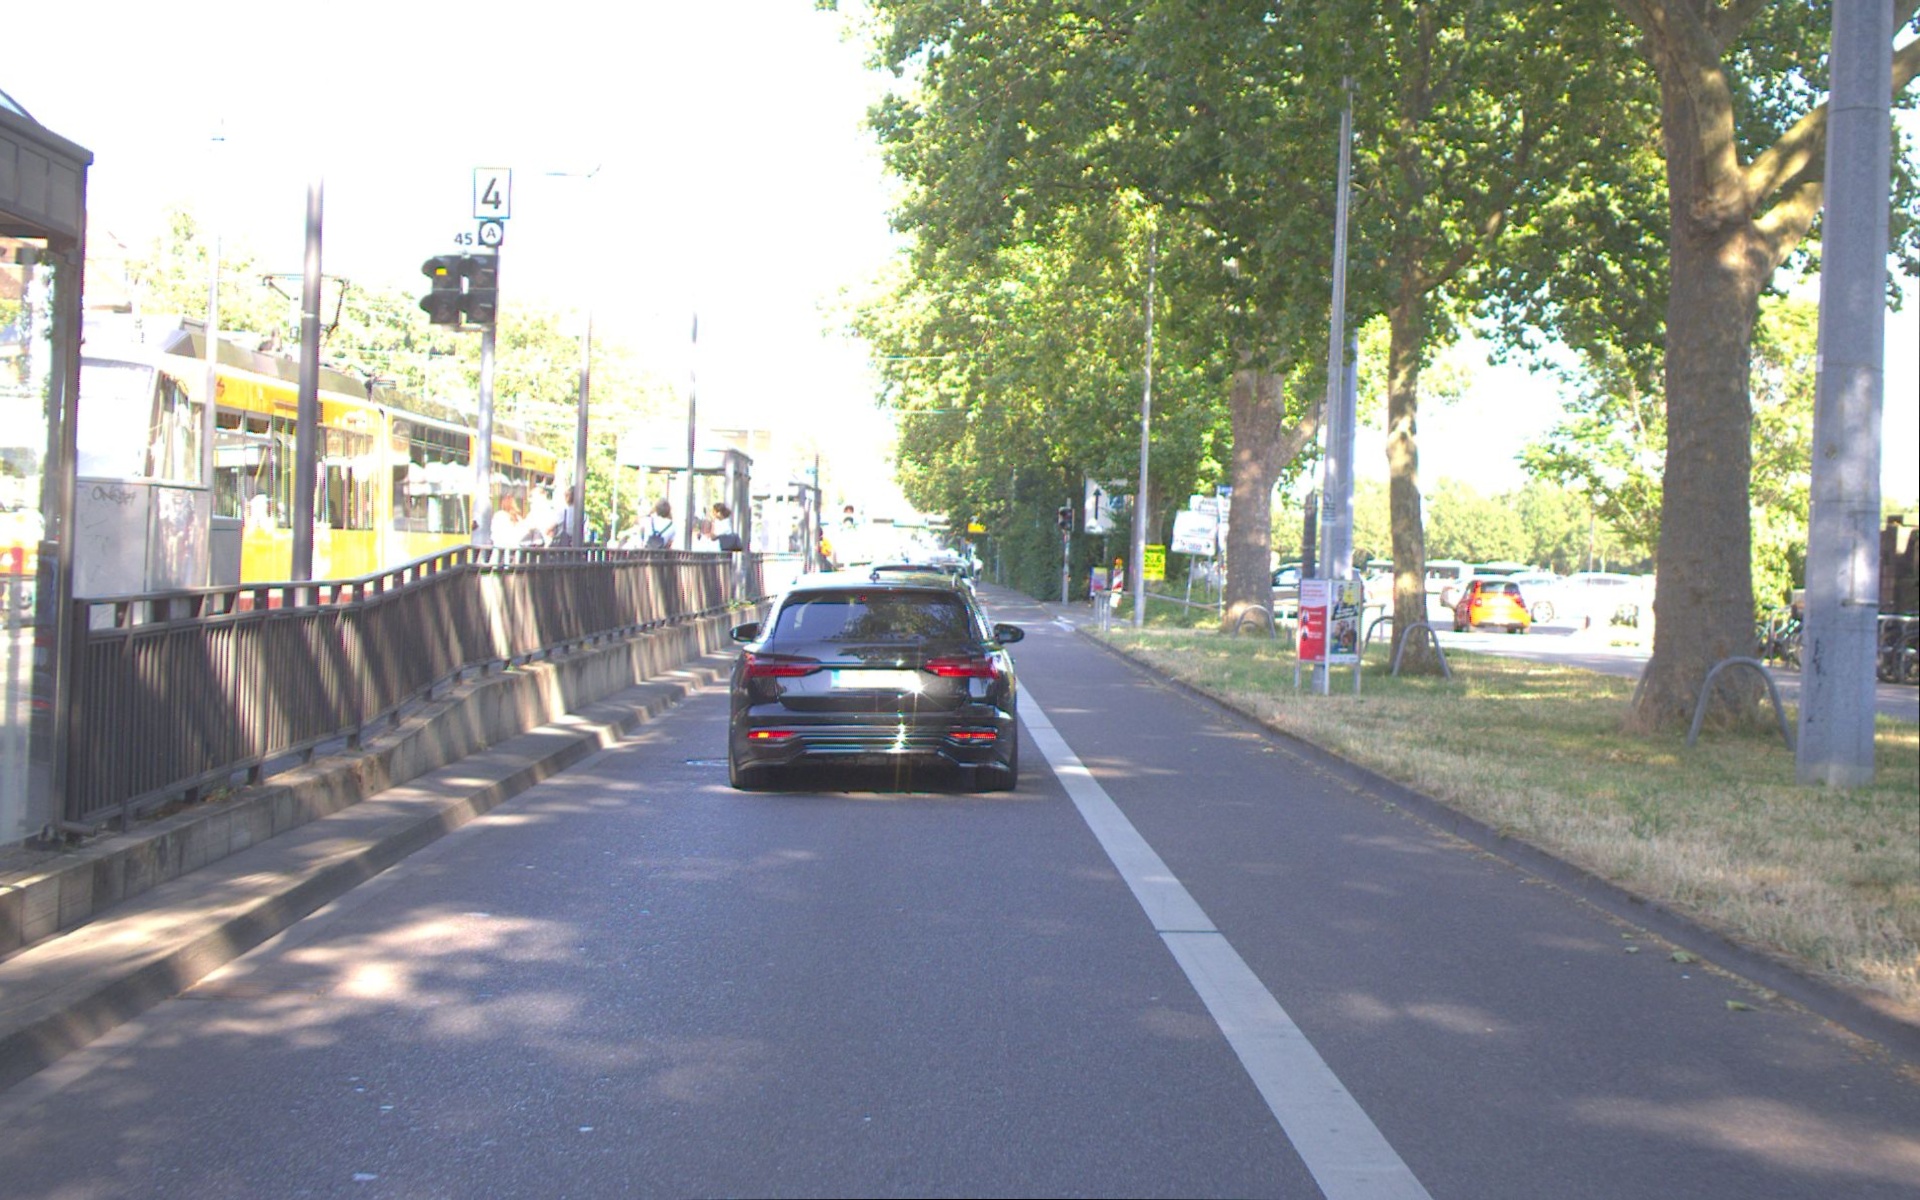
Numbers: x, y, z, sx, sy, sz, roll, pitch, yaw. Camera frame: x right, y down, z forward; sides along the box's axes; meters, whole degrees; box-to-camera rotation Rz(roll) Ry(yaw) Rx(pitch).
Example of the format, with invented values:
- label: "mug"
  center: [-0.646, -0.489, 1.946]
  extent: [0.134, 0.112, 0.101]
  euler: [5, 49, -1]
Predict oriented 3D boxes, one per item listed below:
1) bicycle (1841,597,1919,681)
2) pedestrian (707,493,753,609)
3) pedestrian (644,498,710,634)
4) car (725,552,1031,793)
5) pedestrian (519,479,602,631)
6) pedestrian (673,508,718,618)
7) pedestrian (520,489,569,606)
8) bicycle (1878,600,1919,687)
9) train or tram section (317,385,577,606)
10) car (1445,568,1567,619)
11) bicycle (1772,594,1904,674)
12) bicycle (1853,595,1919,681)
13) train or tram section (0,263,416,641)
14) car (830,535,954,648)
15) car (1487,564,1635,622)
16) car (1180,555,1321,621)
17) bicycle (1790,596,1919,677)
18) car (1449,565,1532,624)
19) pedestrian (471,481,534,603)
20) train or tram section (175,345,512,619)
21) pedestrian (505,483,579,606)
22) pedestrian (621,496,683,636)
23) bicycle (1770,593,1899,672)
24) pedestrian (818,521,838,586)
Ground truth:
- label: "bicycle"
  center: [12.879, 0.534, 46.555]
  extent: [1.773, 1.116, 0.439]
  euler: [1, 1, -1]
- label: "pedestrian"
  center: [-3.625, -0.772, 54.181]
  extent: [0.611, 1.778, 0.613]
  euler: [2, 1, 0]
- label: "pedestrian"
  center: [-3.498, -0.423, 42.459]
  extent: [0.611, 1.636, 0.614]
  euler: [2, 1, -20]
- label: "car"
  center: [-0.586, 0.428, 23.024]
  extent: [1.878, 1.452, 3.357]
  euler: [1, 1, -3]
- label: "pedestrian"
  center: [-4.163, -0.471, 35.881]
  extent: [0.614, 1.543, 0.724]
  euler: [3, 1, 10]
- label: "pedestrian"
  center: [-4.351, -0.603, 56.590]
  extent: [0.610, 1.778, 0.681]
  euler: [2, 1, 0]
- label: "pedestrian"
  center: [-6.449, -0.809, 53.386]
  extent: [0.611, 1.778, 0.775]
  euler: [2, 1, 0]
- label: "bicycle"
  center: [12.810, 0.570, 44.539]
  extent: [1.687, 1.116, 0.439]
  euler: [1, 1, -1]
- label: "train or tram section"
  center: [-9.866, -1.949, 67.569]
  extent: [3.309, 3.816, 11.844]
  euler: [3, 1, -1]
- label: "car"
  center: [21.566, -0.275, 135.977]
  extent: [4.351, 1.809, 2.000]
  euler: [2, 1, -4]
- label: "bicycle"
  center: [12.704, 0.492, 49.775]
  extent: [1.773, 1.116, 0.439]
  euler: [1, 1, -1]
- label: "bicycle"
  center: [12.805, 0.514, 45.605]
  extent: [1.773, 1.116, 0.439]
  euler: [1, 1, -1]
- label: "train or tram section"
  center: [-9.528, -1.646, 42.619]
  extent: [3.309, 3.816, 14.220]
  euler: [3, 1, -1]
- label: "car"
  center: [-1.092, -0.163, 53.243]
  extent: [1.762, 1.614, 4.001]
  euler: [2, 1, -3]
- label: "car"
  center: [19.383, -0.242, 111.013]
  extent: [4.459, 1.653, 1.917]
  euler: [2, 1, 4]
- label: "car"
  center: [8.611, -0.362, 102.272]
  extent: [3.987, 1.758, 1.833]
  euler: [2, 0, 1]
- label: "bicycle"
  center: [12.703, 0.514, 48.689]
  extent: [1.773, 1.116, 0.439]
  euler: [1, 1, -1]
- label: "car"
  center: [14.457, -0.167, 93.818]
  extent: [1.614, 1.510, 3.803]
  euler: [2, 1, 0]
- label: "pedestrian"
  center: [-6.825, -0.870, 51.284]
  extent: [0.793, 1.778, 0.625]
  euler: [2, 1, 0]
- label: "train or tram section"
  center: [-9.692, -1.787, 55.674]
  extent: [3.309, 3.816, 11.844]
  euler: [3, 1, -1]
- label: "pedestrian"
  center: [-6.169, -0.817, 50.704]
  extent: [0.793, 1.778, 0.649]
  euler: [2, 1, -40]
- label: "pedestrian"
  center: [-3.736, -0.408, 41.737]
  extent: [0.611, 1.663, 0.613]
  euler: [2, 1, 2]
- label: "bicycle"
  center: [12.923, 0.476, 50.821]
  extent: [1.773, 1.116, 0.439]
  euler: [1, 1, -1]
- label: "pedestrian"
  center: [-3.492, -1.236, 91.019]
  extent: [0.412, 1.711, 0.666]
  euler: [3, 1, 0]
